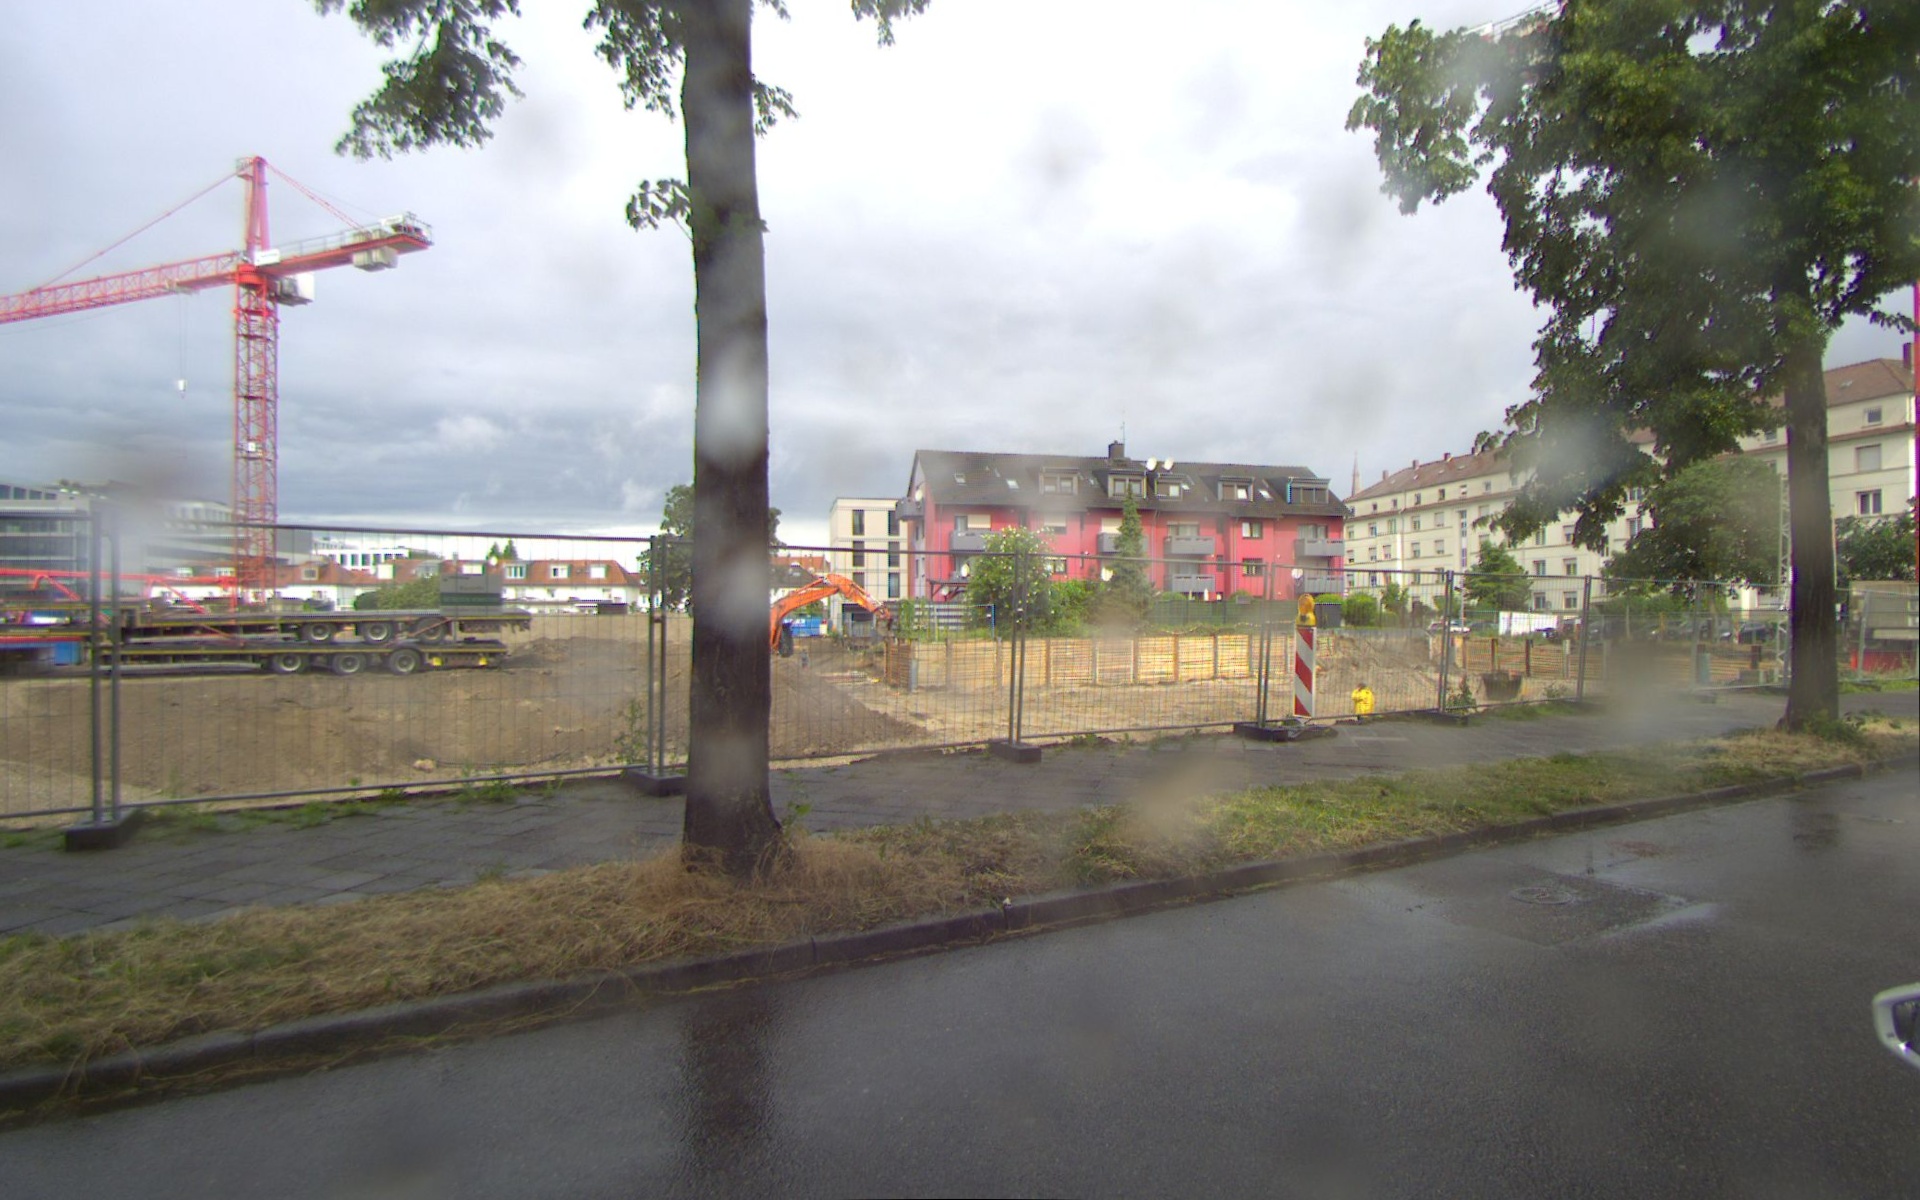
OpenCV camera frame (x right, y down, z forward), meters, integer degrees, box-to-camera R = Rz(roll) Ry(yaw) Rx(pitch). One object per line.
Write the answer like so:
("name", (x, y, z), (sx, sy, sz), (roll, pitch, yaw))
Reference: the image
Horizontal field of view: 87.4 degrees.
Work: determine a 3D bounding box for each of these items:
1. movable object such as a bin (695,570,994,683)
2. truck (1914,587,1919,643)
("movable object such as a bin", (-6.623, 1.439, 59.154), (16.430, 6.125, 6.885), (0, 0, -6))
("truck", (48.511, 0.672, 44.901), (2.770, 2.692, 8.207), (0, 0, -18))
